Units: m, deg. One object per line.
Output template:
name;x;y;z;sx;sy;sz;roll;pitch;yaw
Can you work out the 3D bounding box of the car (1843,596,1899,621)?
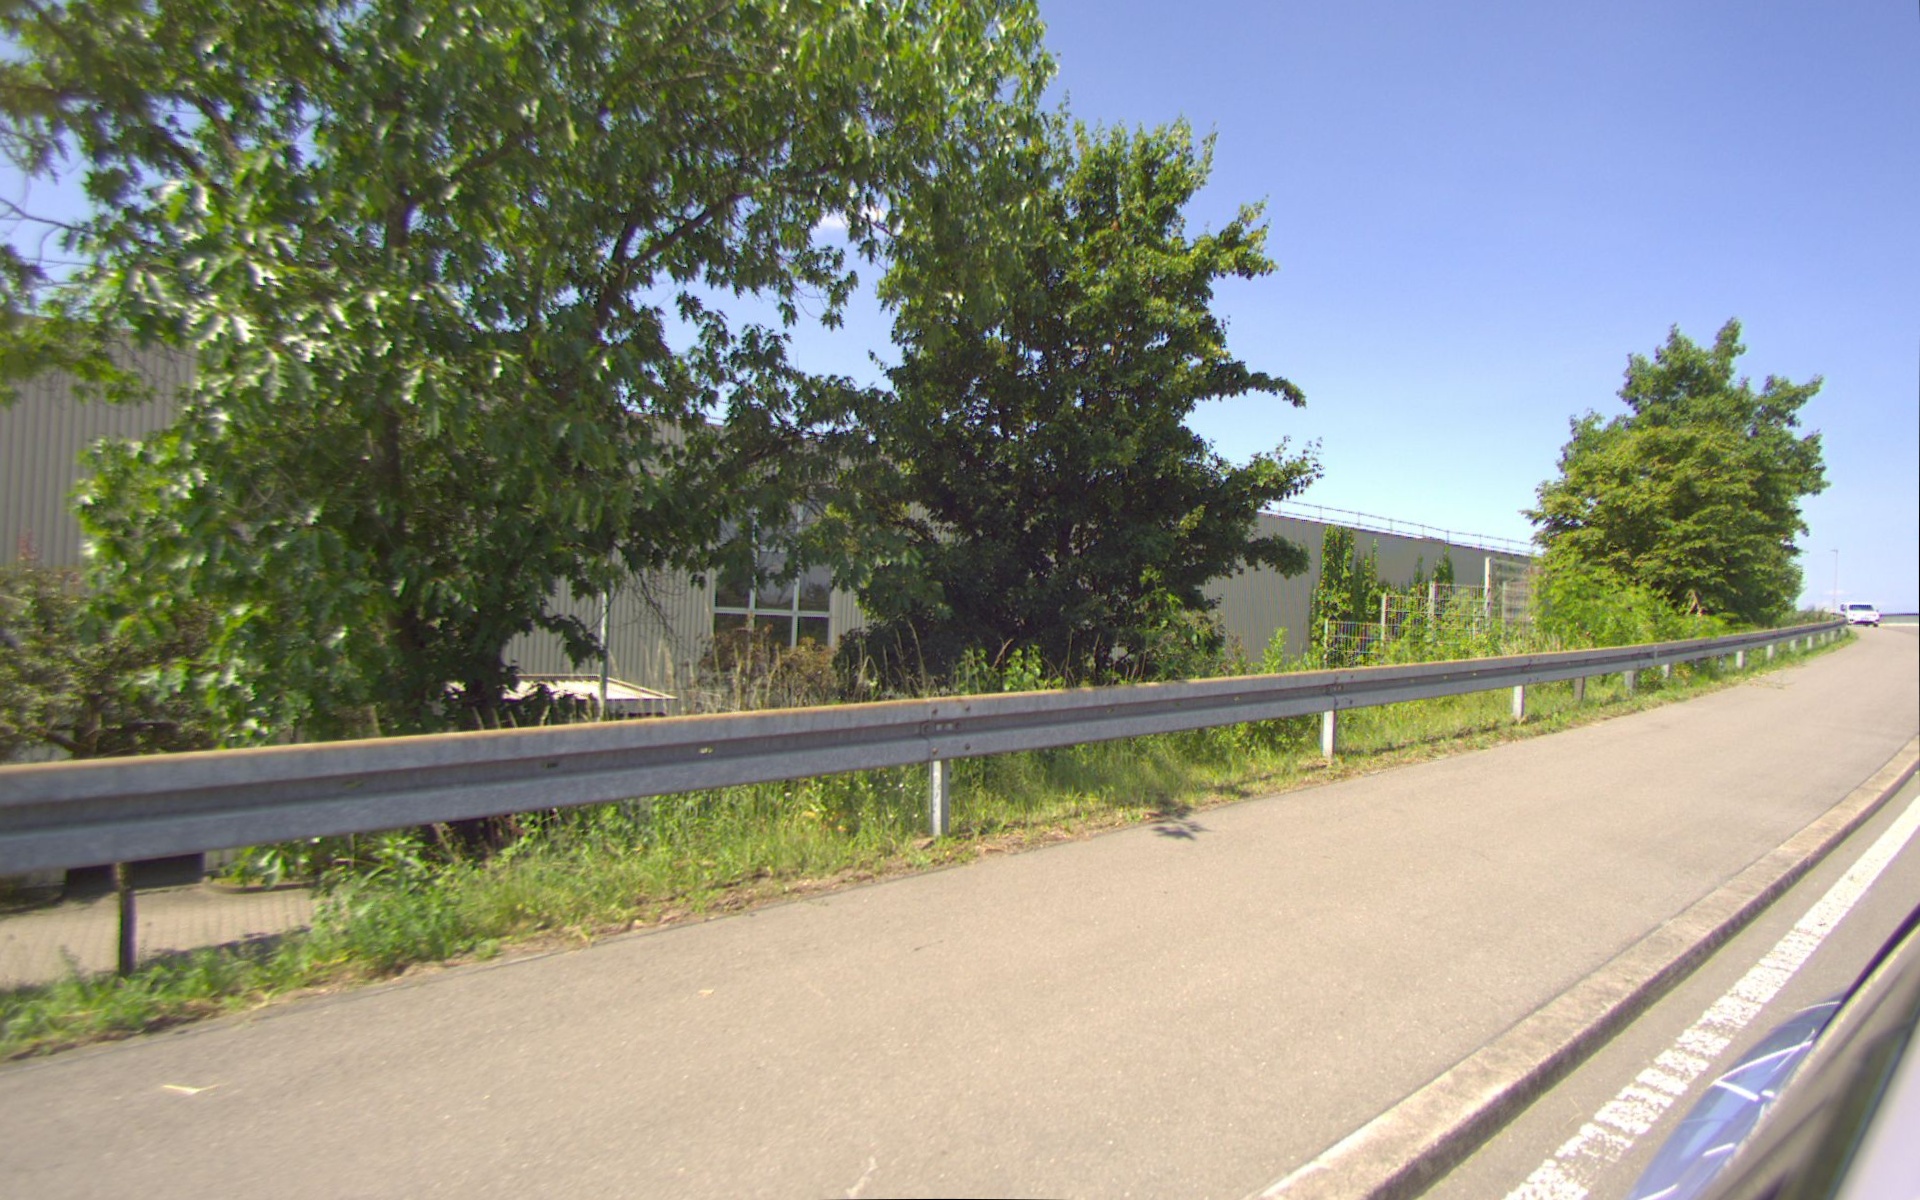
car;67.665;0.632;75.217;2.075;1.784;4.239;-1;-2;29
